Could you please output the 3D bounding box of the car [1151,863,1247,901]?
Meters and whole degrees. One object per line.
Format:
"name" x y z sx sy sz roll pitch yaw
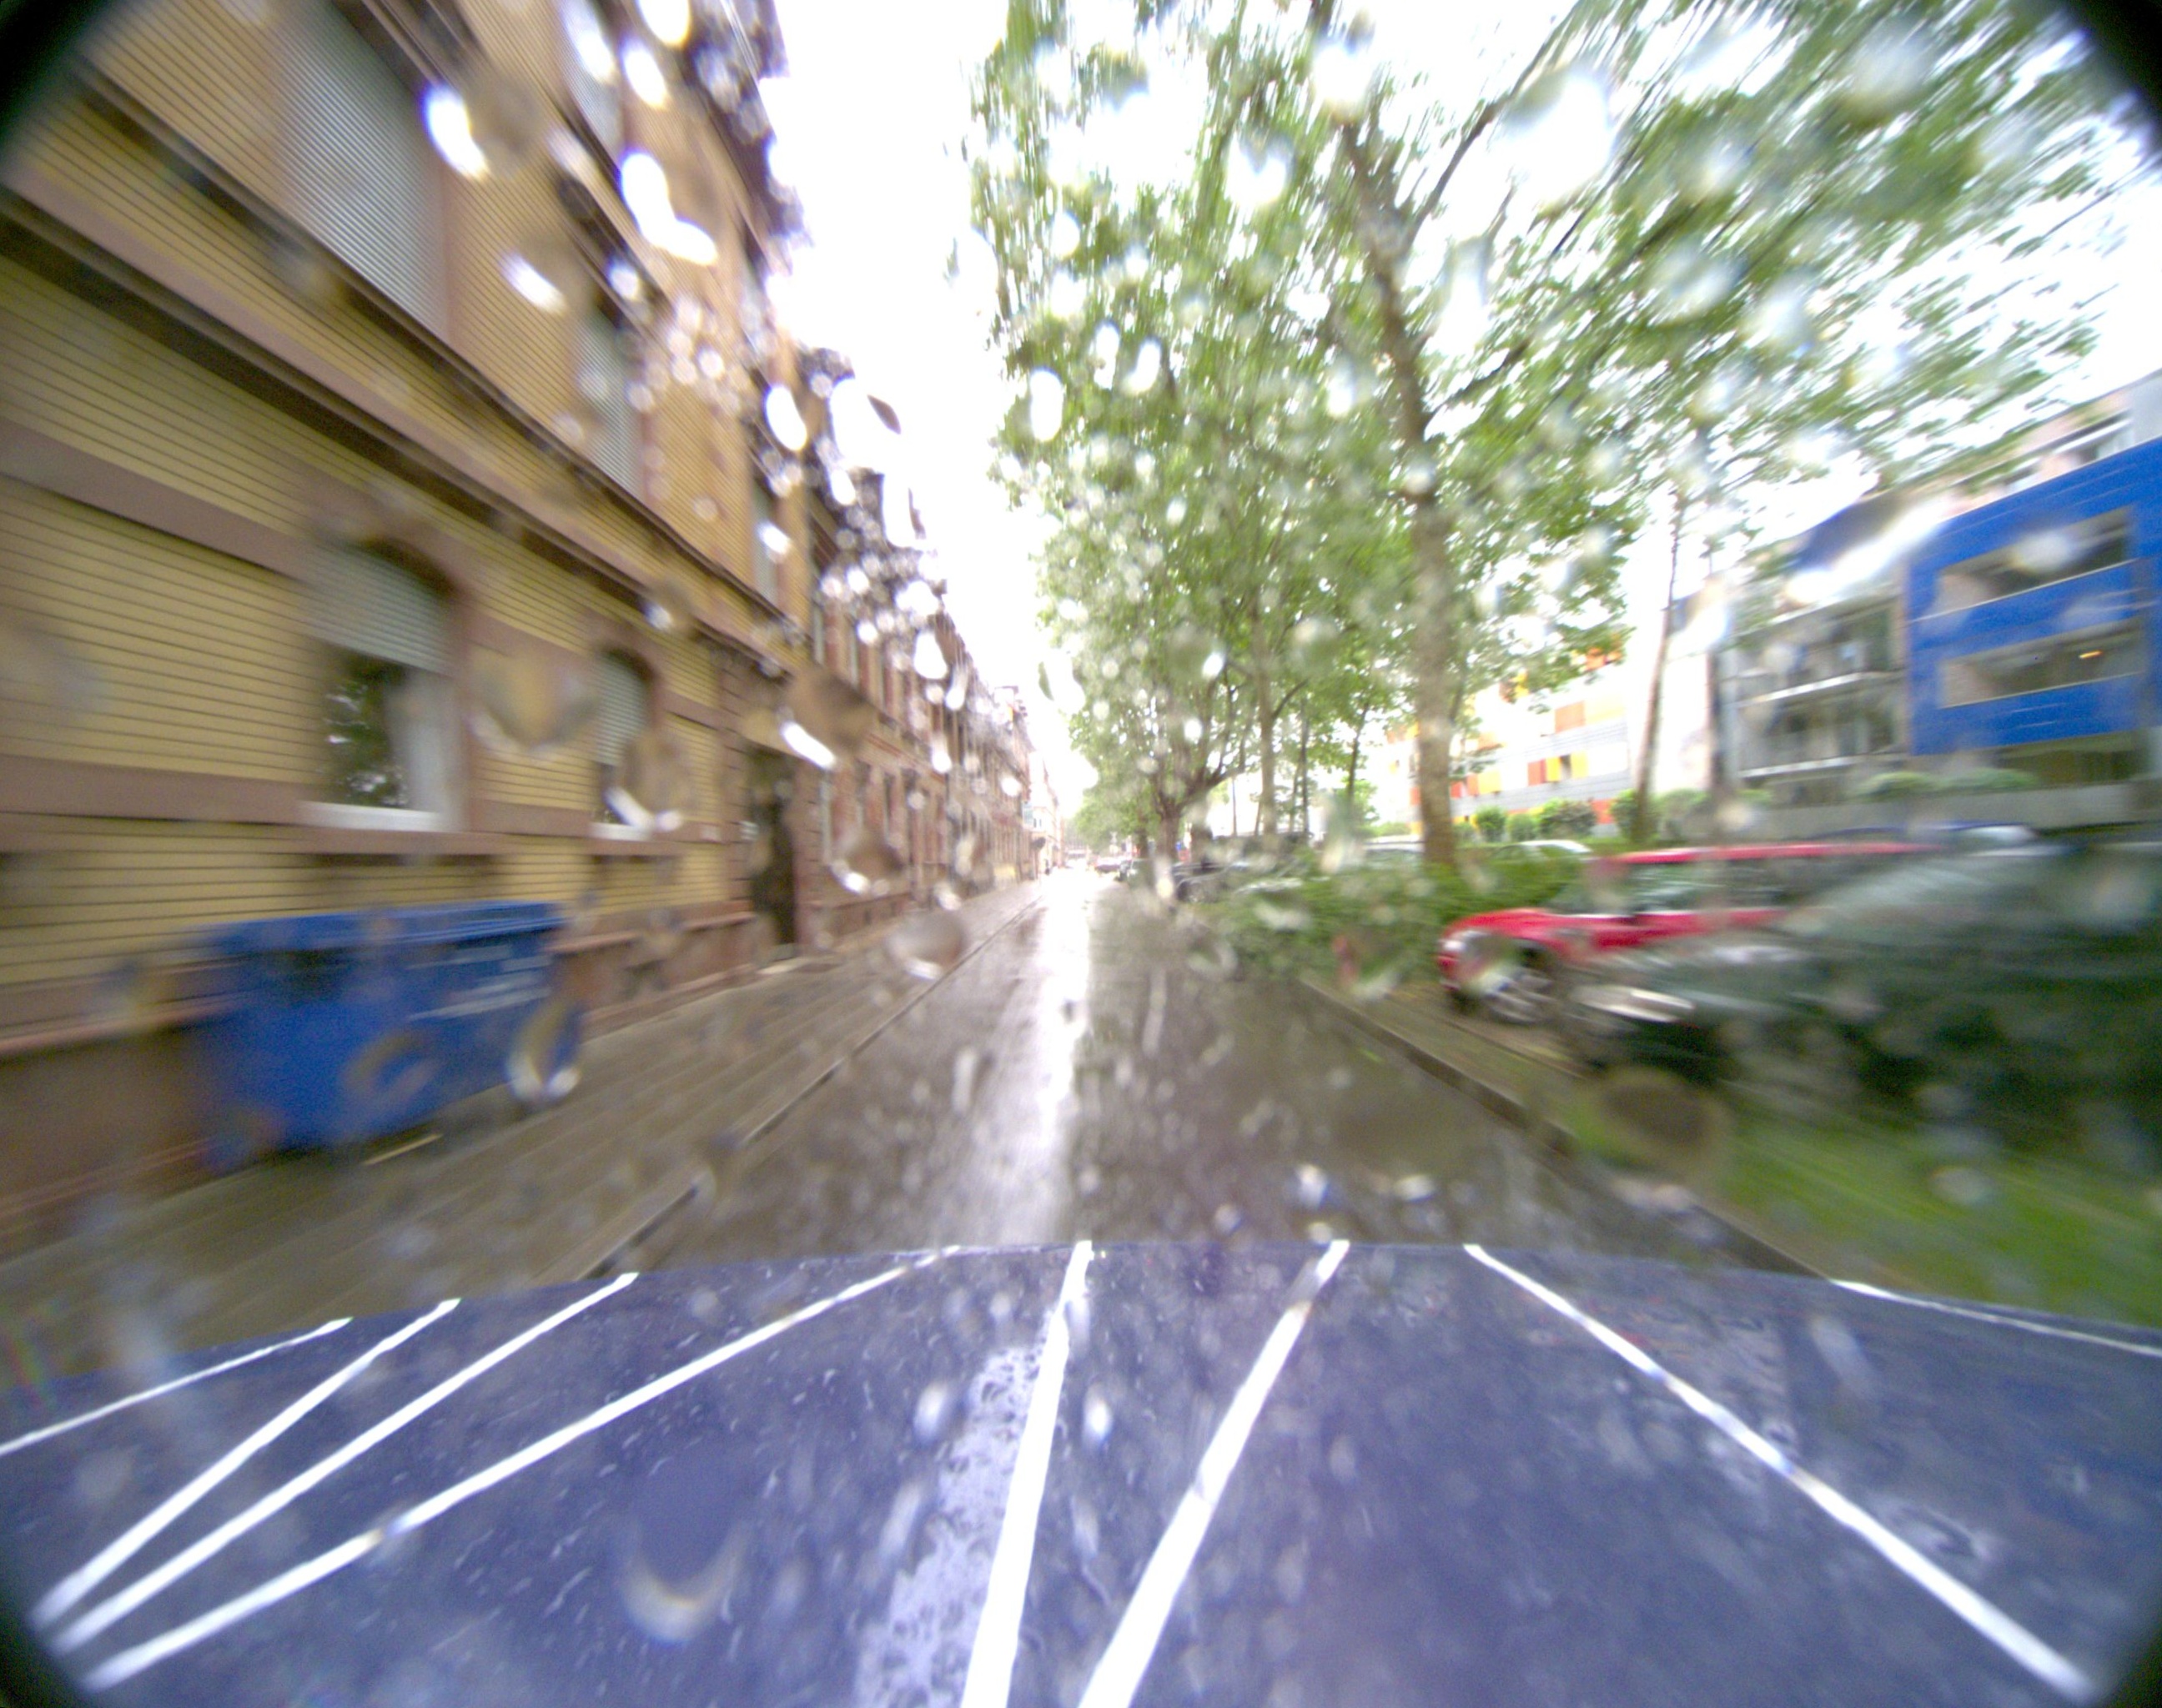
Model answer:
"car" 4.873 1.171 31.378 3.494 1.427 1.785 -2 0 28

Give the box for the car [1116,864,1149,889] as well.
"car" 3.399 1.483 50.904 1.901 1.476 4.621 -4 0 0

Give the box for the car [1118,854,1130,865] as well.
"car" 7.806 1.035 138.532 1.937 1.838 4.067 -3 0 1

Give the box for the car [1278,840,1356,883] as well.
"car" 12.323 0.387 40.101 2.059 1.985 5.433 -4 0 -3

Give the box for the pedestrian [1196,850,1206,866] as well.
"pedestrian" 13.802 0.483 87.585 0.938 1.789 1.206 -2 1 0

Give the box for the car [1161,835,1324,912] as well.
"car" 5.165 0.626 24.427 4.648 2.269 2.015 -2 0 30

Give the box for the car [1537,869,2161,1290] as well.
"car" 4.630 0.860 3.468 4.220 1.470 1.747 -3 -1 28

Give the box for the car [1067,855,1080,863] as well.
"car" -1.271 0.880 132.696 1.976 1.359 4.162 2 0 3

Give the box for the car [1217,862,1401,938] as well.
"car" 4.805 0.954 16.095 3.504 1.459 1.645 -2 0 20

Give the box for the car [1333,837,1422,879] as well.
"car" 12.091 0.183 31.337 1.909 1.525 4.215 -3 0 -1

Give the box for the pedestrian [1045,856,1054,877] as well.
"pedestrian" -2.939 1.161 71.243 0.787 1.902 0.929 1 1 0

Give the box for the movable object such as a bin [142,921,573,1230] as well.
"movable object such as a bin" -3.764 1.075 4.157 1.024 1.294 1.367 1 -1 0

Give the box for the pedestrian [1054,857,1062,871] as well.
"pedestrian" -2.612 1.177 86.746 0.849 1.564 0.576 2 0 1

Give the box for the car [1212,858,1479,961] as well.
"car" 4.547 0.952 13.179 4.056 1.528 1.838 -3 -1 26

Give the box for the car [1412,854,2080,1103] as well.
"car" 4.848 0.846 6.249 3.645 1.470 1.747 -3 -1 31

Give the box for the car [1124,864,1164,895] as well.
"car" 3.389 1.360 41.596 1.733 1.505 4.207 -4 0 0

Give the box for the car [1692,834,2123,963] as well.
"car" 12.050 0.572 11.616 1.909 1.525 4.215 -3 0 -1

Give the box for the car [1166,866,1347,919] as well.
"car" 4.949 1.080 21.546 4.648 1.318 1.850 -2 0 28

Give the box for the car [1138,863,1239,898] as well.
"car" 4.787 1.173 33.839 4.037 1.426 1.784 -2 0 25
